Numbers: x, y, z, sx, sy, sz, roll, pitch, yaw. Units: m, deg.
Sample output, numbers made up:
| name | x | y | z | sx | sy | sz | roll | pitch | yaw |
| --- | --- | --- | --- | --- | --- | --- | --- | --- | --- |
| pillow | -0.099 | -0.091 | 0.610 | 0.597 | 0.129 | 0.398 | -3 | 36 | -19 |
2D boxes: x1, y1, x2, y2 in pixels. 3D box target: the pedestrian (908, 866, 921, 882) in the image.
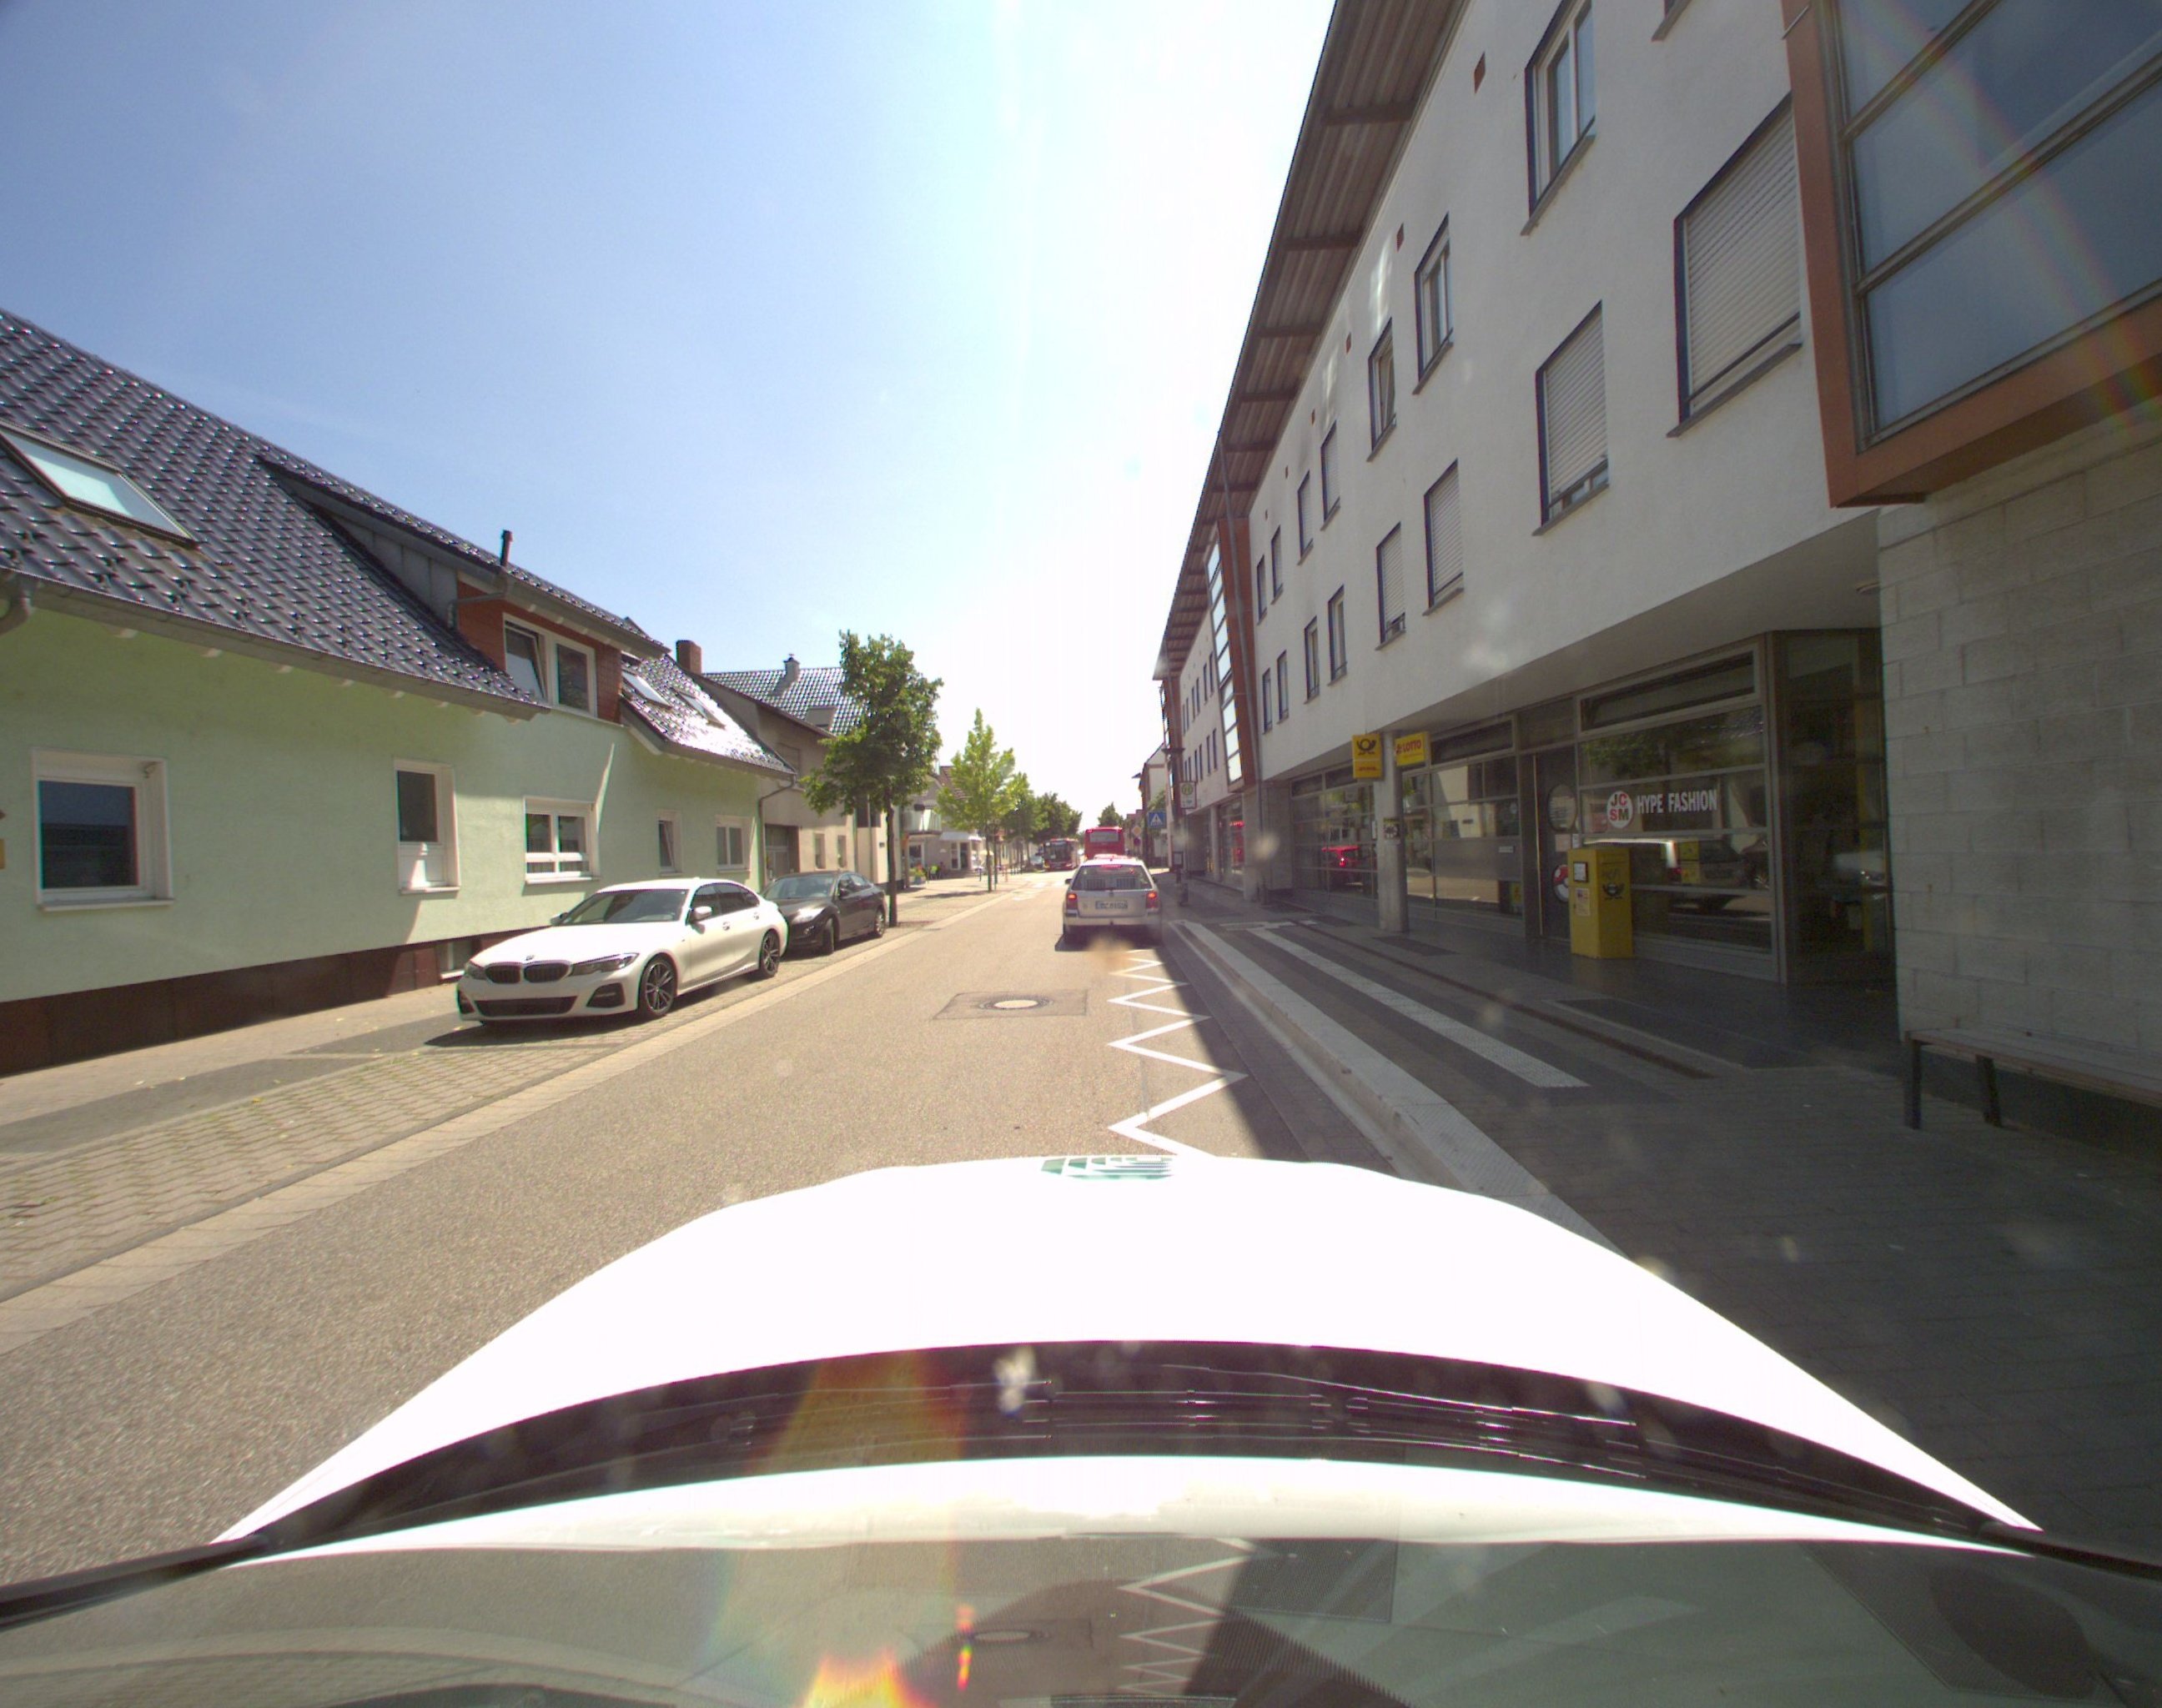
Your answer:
| name | x | y | z | sx | sy | sz | roll | pitch | yaw |
| --- | --- | --- | --- | --- | --- | --- | --- | --- | --- |
| pedestrian | -12.072 | 1.447 | 59.111 | 0.639 | 1.116 | 0.780 | 0 | -1 | -42 |

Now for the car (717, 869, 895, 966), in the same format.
| name | x | y | z | sx | sy | sz | roll | pitch | yaw |
| --- | --- | --- | --- | --- | --- | --- | --- | --- | --- |
| car | -5.011 | 1.082 | 15.563 | 1.654 | 1.437 | 4.541 | -2 | 0 | 2 |

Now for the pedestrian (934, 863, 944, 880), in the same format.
| name | x | y | z | sx | sy | sz | roll | pitch | yaw |
| --- | --- | --- | --- | --- | --- | --- | --- | --- | --- |
| pedestrian | -10.584 | 1.304 | 60.805 | 0.620 | 1.179 | 0.696 | -2 | 0 | -3 |

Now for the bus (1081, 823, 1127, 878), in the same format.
| name | x | y | z | sx | sy | sz | roll | pitch | yaw |
| --- | --- | --- | --- | --- | --- | --- | --- | --- | --- |
| bus | 1.418 | -0.188 | 56.567 | 2.731 | 3.298 | 12.702 | -2 | 0 | 0 |

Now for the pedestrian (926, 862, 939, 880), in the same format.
| name | x | y | z | sx | sy | sz | roll | pitch | yaw |
| --- | --- | --- | --- | --- | --- | --- | --- | --- | --- |
| pedestrian | -10.912 | 1.252 | 59.837 | 0.639 | 1.289 | 0.780 | 0 | -1 | -42 |

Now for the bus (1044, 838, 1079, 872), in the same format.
| name | x | y | z | sx | sy | sz | roll | pitch | yaw |
| --- | --- | --- | --- | --- | --- | --- | --- | --- | --- |
| bus | -1.781 | 0.074 | 82.967 | 2.659 | 3.123 | 17.812 | -1 | 0 | 2 |

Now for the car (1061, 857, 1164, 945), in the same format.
| name | x | y | z | sx | sy | sz | roll | pitch | yaw |
| --- | --- | --- | --- | --- | --- | --- | --- | --- | --- |
| car | 0.560 | 0.767 | 15.072 | 1.671 | 1.430 | 3.680 | 0 | 0 | 1 |

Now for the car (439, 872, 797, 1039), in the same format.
| name | x | y | z | sx | sy | sz | roll | pitch | yaw |
| --- | --- | --- | --- | --- | --- | --- | --- | --- | --- |
| car | -5.190 | 1.020 | 9.988 | 1.714 | 1.437 | 4.460 | -2 | 0 | 1 |

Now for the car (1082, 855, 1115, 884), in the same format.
| name | x | y | z | sx | sy | sz | roll | pitch | yaw |
| --- | --- | --- | --- | --- | --- | --- | --- | --- | --- |
| car | 0.945 | 0.778 | 42.581 | 1.587 | 1.430 | 3.681 | -1 | 0 | 2 |

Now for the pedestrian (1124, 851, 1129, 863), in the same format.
| name | x | y | z | sx | sy | sz | roll | pitch | yaw |
| --- | --- | --- | --- | --- | --- | --- | --- | --- | --- |
| pedestrian | 6.448 | 0.467 | 114.680 | 0.604 | 1.667 | 0.789 | -2 | 0 | 0 |

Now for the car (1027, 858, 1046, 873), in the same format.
| name | x | y | z | sx | sy | sz | roll | pitch | yaw |
| --- | --- | --- | --- | --- | --- | --- | --- | --- | --- |
| car | -4.619 | 1.188 | 84.190 | 1.599 | 1.438 | 4.066 | -2 | 0 | 1 |

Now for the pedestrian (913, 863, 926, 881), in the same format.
| name | x | y | z | sx | sy | sz | roll | pitch | yaw |
| --- | --- | --- | --- | --- | --- | --- | --- | --- | --- |
| pedestrian | -11.896 | 1.334 | 60.027 | 0.639 | 1.289 | 0.780 | 0 | -1 | -42 |

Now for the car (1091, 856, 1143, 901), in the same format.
| name | x | y | z | sx | sy | sz | roll | pitch | yaw |
| --- | --- | --- | --- | --- | --- | --- | --- | --- | --- |
| car | 1.215 | 0.792 | 28.217 | 1.671 | 1.430 | 3.680 | -1 | 0 | 1 |
